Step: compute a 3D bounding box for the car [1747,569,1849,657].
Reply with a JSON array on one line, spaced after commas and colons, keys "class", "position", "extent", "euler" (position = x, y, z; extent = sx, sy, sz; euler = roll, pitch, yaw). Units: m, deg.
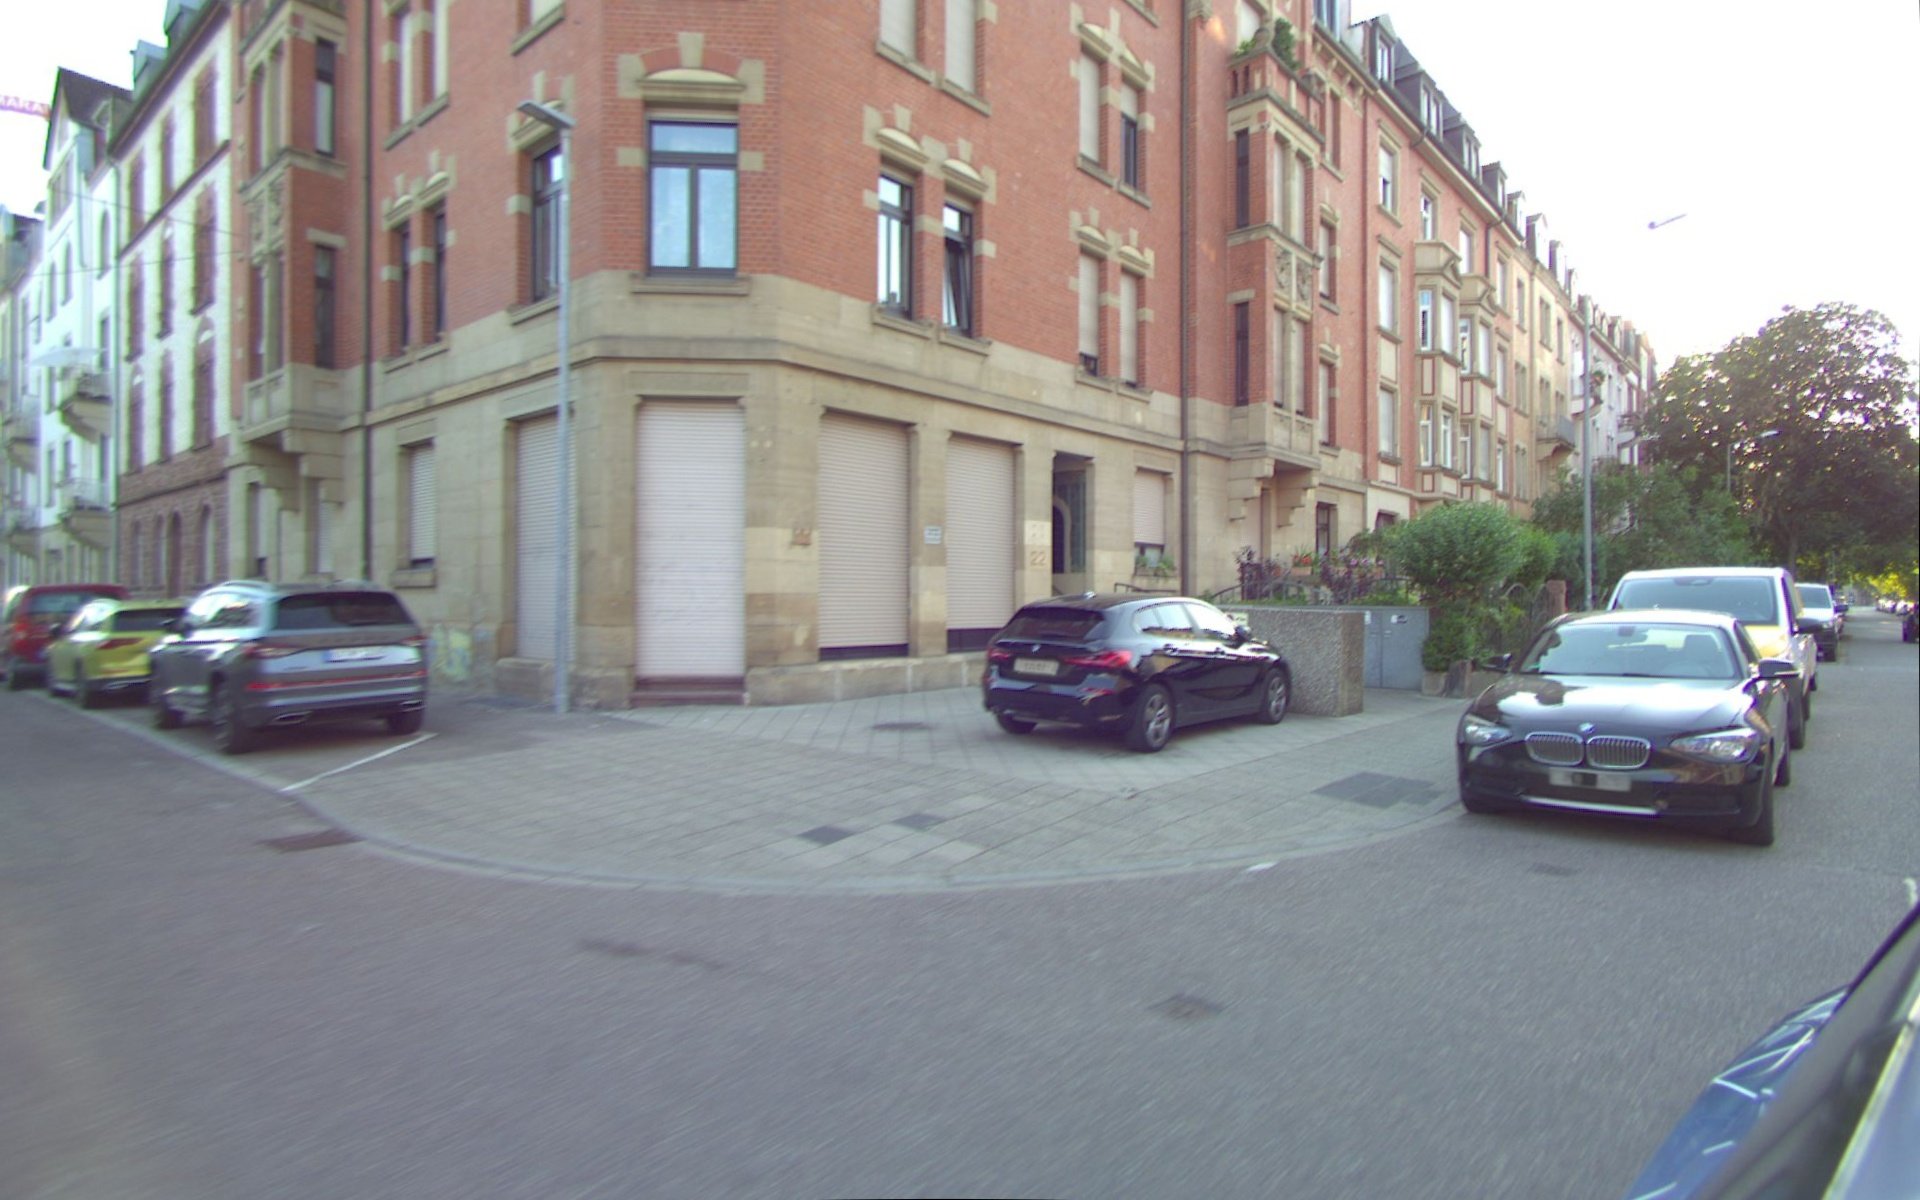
[{"class": "car", "position": [22.470, 0.287, 27.113], "extent": [1.860, 2.064, 5.463], "euler": [3, 2, 41]}]

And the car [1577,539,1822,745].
[{"class": "car", "position": [8.850, 0.380, 11.908], "extent": [1.892, 1.908, 5.006], "euler": [0, 0, 41]}]

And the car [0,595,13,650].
[{"class": "car", "position": [-29.071, 0.632, 29.405], "extent": [4.315, 1.486, 1.851], "euler": [1, 2, 41]}]

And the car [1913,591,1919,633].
[{"class": "car", "position": [35.923, 0.469, 36.580], "extent": [1.777, 1.536, 3.944], "euler": [2, 2, 39]}]

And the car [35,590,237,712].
[{"class": "car", "position": [-12.457, 0.645, 15.207], "extent": [4.315, 1.495, 1.645], "euler": [1, 2, 41]}]

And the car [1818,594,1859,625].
[{"class": "car", "position": [51.374, 0.514, 59.231], "extent": [1.730, 1.723, 4.108], "euler": [0, 0, 40]}]

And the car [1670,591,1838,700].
[{"class": "car", "position": [12.518, 0.619, 15.878], "extent": [1.675, 1.496, 3.800], "euler": [0, 0, 44]}]

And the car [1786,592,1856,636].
[{"class": "car", "position": [33.204, 0.522, 38.993], "extent": [1.756, 1.602, 4.765], "euler": [-1, -1, 44]}]

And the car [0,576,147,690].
[{"class": "car", "position": [-16.609, 0.496, 18.598], "extent": [4.315, 1.816, 1.851], "euler": [1, 2, 41]}]

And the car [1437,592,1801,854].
[{"class": "car", "position": [5.205, 0.679, 7.723], "extent": [1.720, 1.442, 4.189], "euler": [-1, 0, 42]}]

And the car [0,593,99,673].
[{"class": "car", "position": [-20.122, 0.641, 21.739], "extent": [4.315, 1.486, 1.851], "euler": [1, 2, 41]}]

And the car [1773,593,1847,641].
[{"class": "car", "position": [29.637, 0.534, 35.251], "extent": [1.720, 1.571, 4.256], "euler": [0, 0, 44]}]

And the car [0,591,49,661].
[{"class": "car", "position": [-24.956, 0.629, 25.922], "extent": [4.558, 1.616, 1.851], "euler": [1, 2, 41]}]

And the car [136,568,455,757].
[{"class": "car", "position": [-7.459, 0.496, 11.188], "extent": [4.315, 1.693, 1.851], "euler": [1, 2, 41]}]

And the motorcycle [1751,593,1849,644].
[{"class": "motorcycle", "position": [26.837, 0.585, 32.386], "extent": [2.061, 1.500, 1.131], "euler": [2, 2, 9]}]

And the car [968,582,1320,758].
[{"class": "car", "position": [2.161, 0.581, 10.840], "extent": [1.725, 1.442, 4.358], "euler": [3, 2, 41]}]
